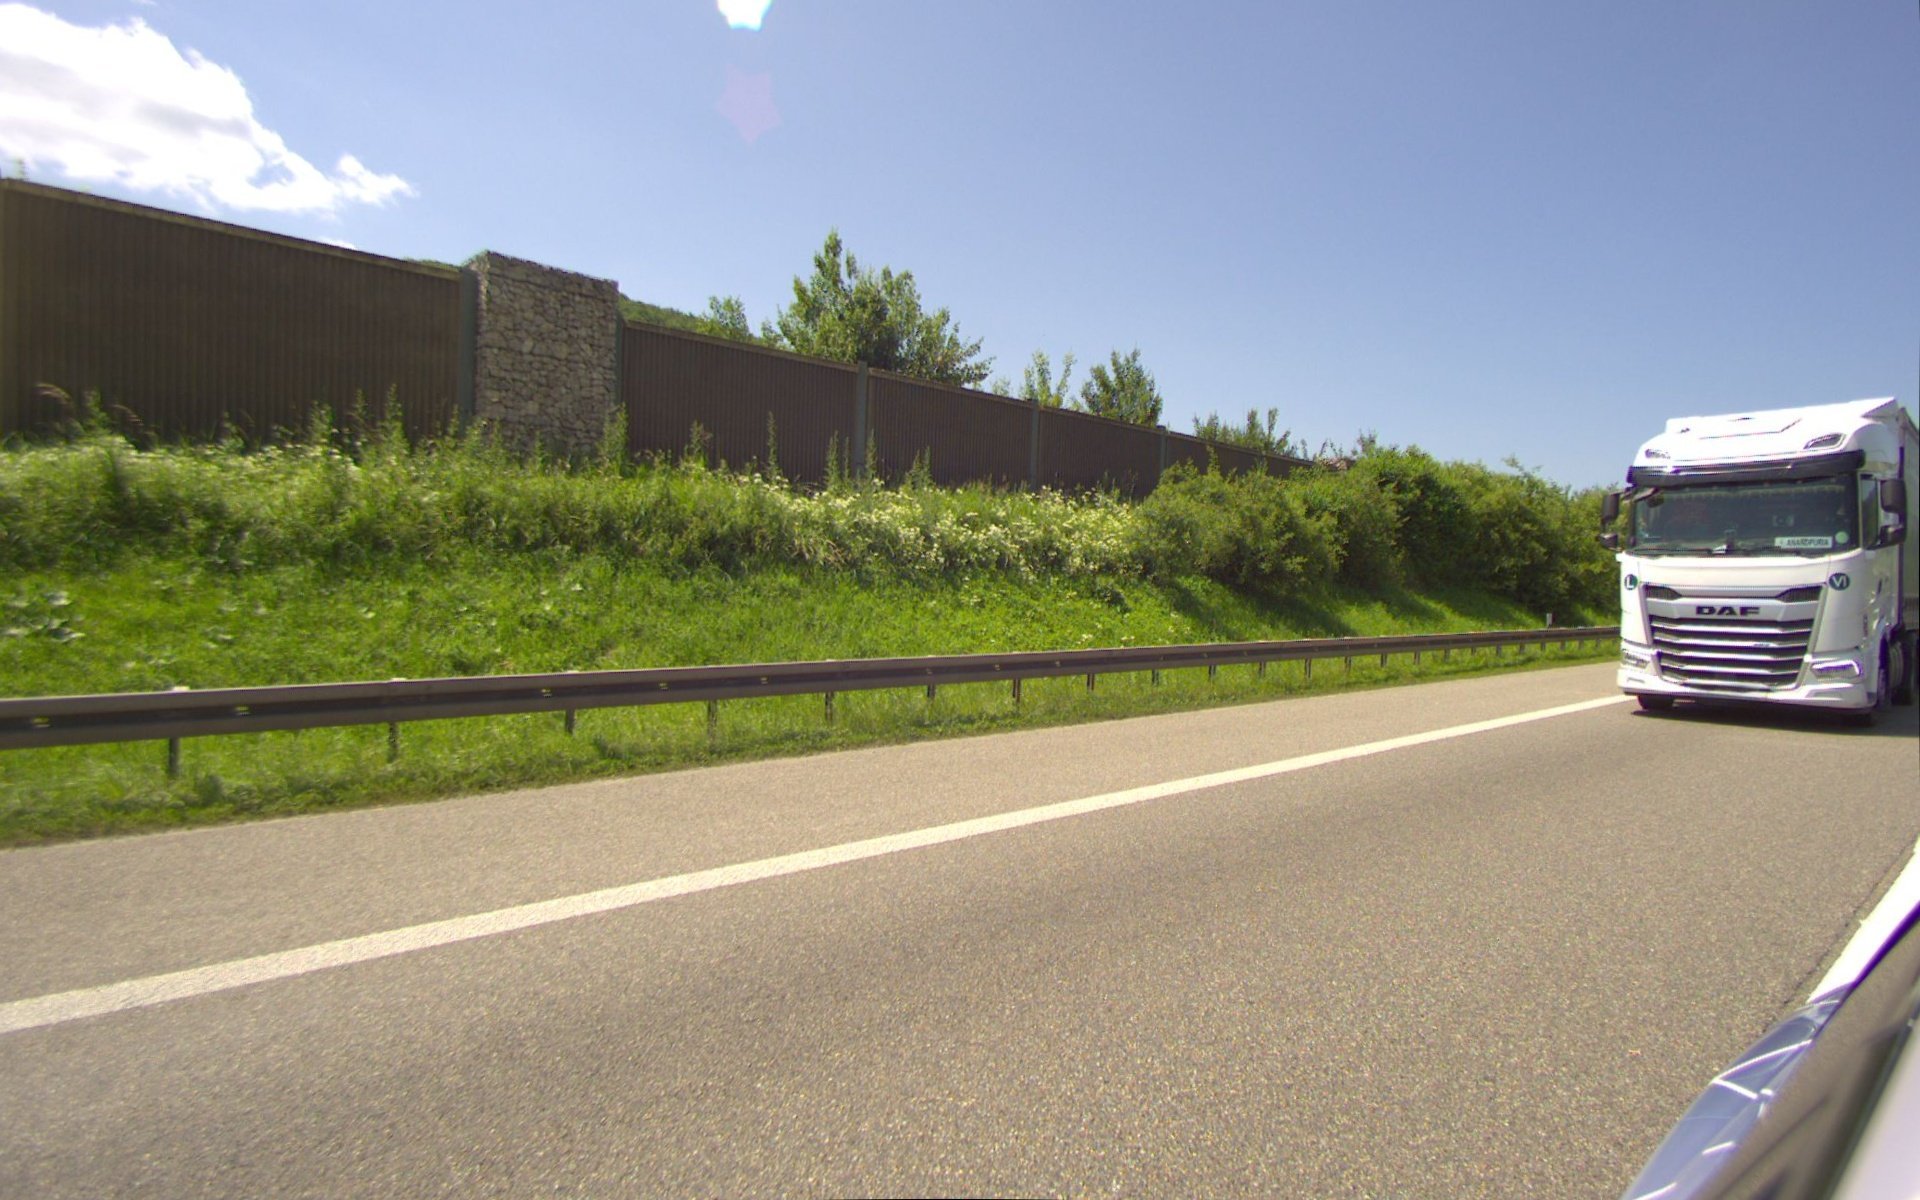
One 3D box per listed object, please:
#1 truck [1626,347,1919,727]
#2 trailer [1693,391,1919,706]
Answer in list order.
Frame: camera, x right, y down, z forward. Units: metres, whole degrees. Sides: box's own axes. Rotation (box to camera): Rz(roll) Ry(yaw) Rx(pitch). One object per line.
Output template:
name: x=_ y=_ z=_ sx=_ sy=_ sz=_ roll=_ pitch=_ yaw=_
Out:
truck: x=11.428 y=-0.703 z=13.787 sx=6.273 sy=4.027 sz=2.481 roll=0 pitch=1 yaw=-43
trailer: x=16.443 y=-0.710 z=18.358 sx=13.423 sy=4.027 sz=2.481 roll=0 pitch=1 yaw=-43
